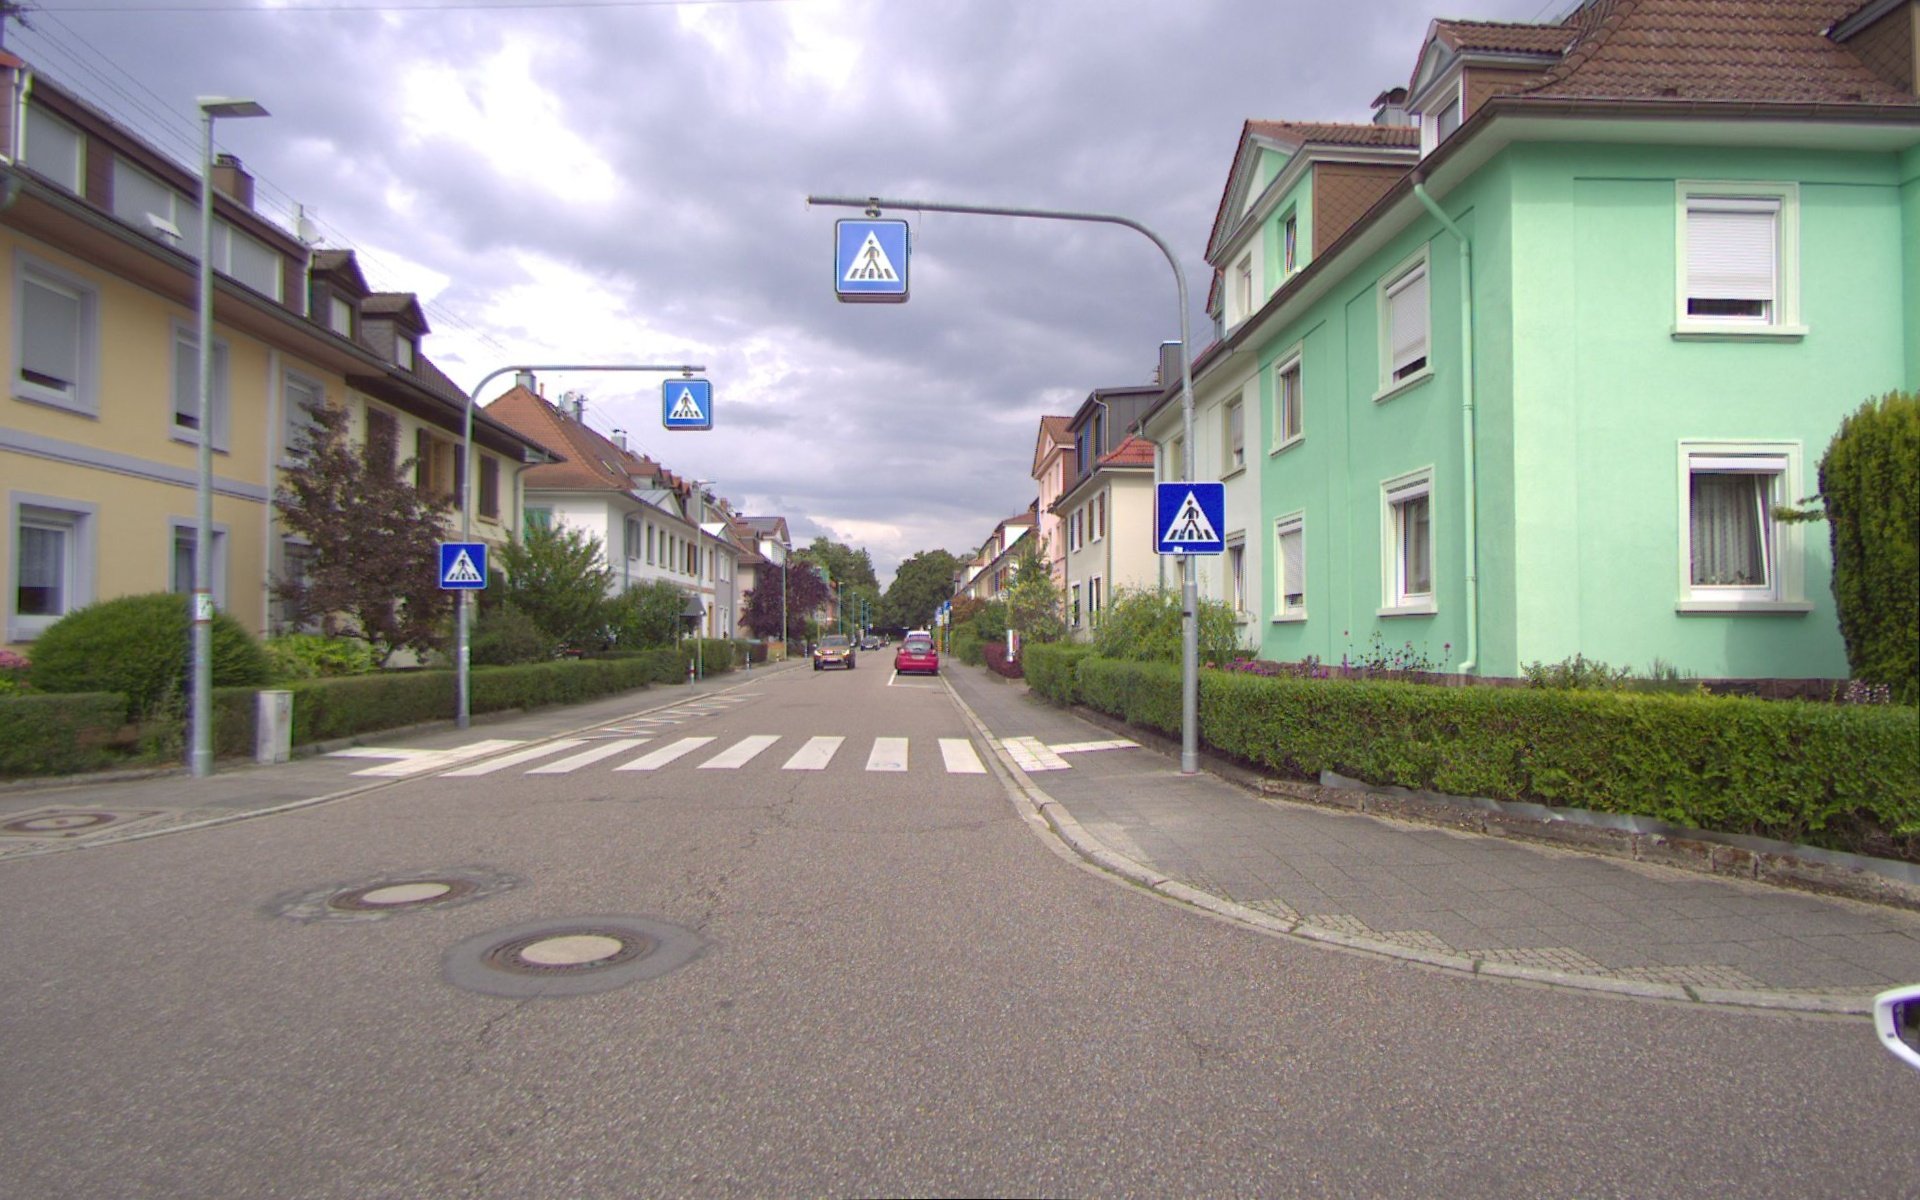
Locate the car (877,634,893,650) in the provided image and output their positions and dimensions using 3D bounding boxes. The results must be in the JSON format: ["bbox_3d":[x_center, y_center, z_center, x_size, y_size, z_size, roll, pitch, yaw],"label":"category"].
[{"bbox_3d":[-9.156,5.089,122.585,1.776,1.904,3.949,0,-2,-2],"label":"car"}]

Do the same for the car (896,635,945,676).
[{"bbox_3d":[-1.665,2.272,41.836,1.961,1.594,3.999,0,-2,-3],"label":"car"}]

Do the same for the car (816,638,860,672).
[{"bbox_3d":[-5.767,2.586,47.834,1.801,1.505,3.999,2,-2,-4],"label":"car"}]

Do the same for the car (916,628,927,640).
[{"bbox_3d":[-6.754,6.058,176.386,1.961,2.040,4.000,1,-2,-2],"label":"car"}]

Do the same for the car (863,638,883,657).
[{"bbox_3d":[-9.511,5.177,109.764,1.961,2.040,3.999,0,-2,-3],"label":"car"}]

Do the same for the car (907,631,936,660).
[{"bbox_3d":[-2.681,3.148,69.990,1.961,1.929,3.999,0,-2,-3],"label":"car"}]
